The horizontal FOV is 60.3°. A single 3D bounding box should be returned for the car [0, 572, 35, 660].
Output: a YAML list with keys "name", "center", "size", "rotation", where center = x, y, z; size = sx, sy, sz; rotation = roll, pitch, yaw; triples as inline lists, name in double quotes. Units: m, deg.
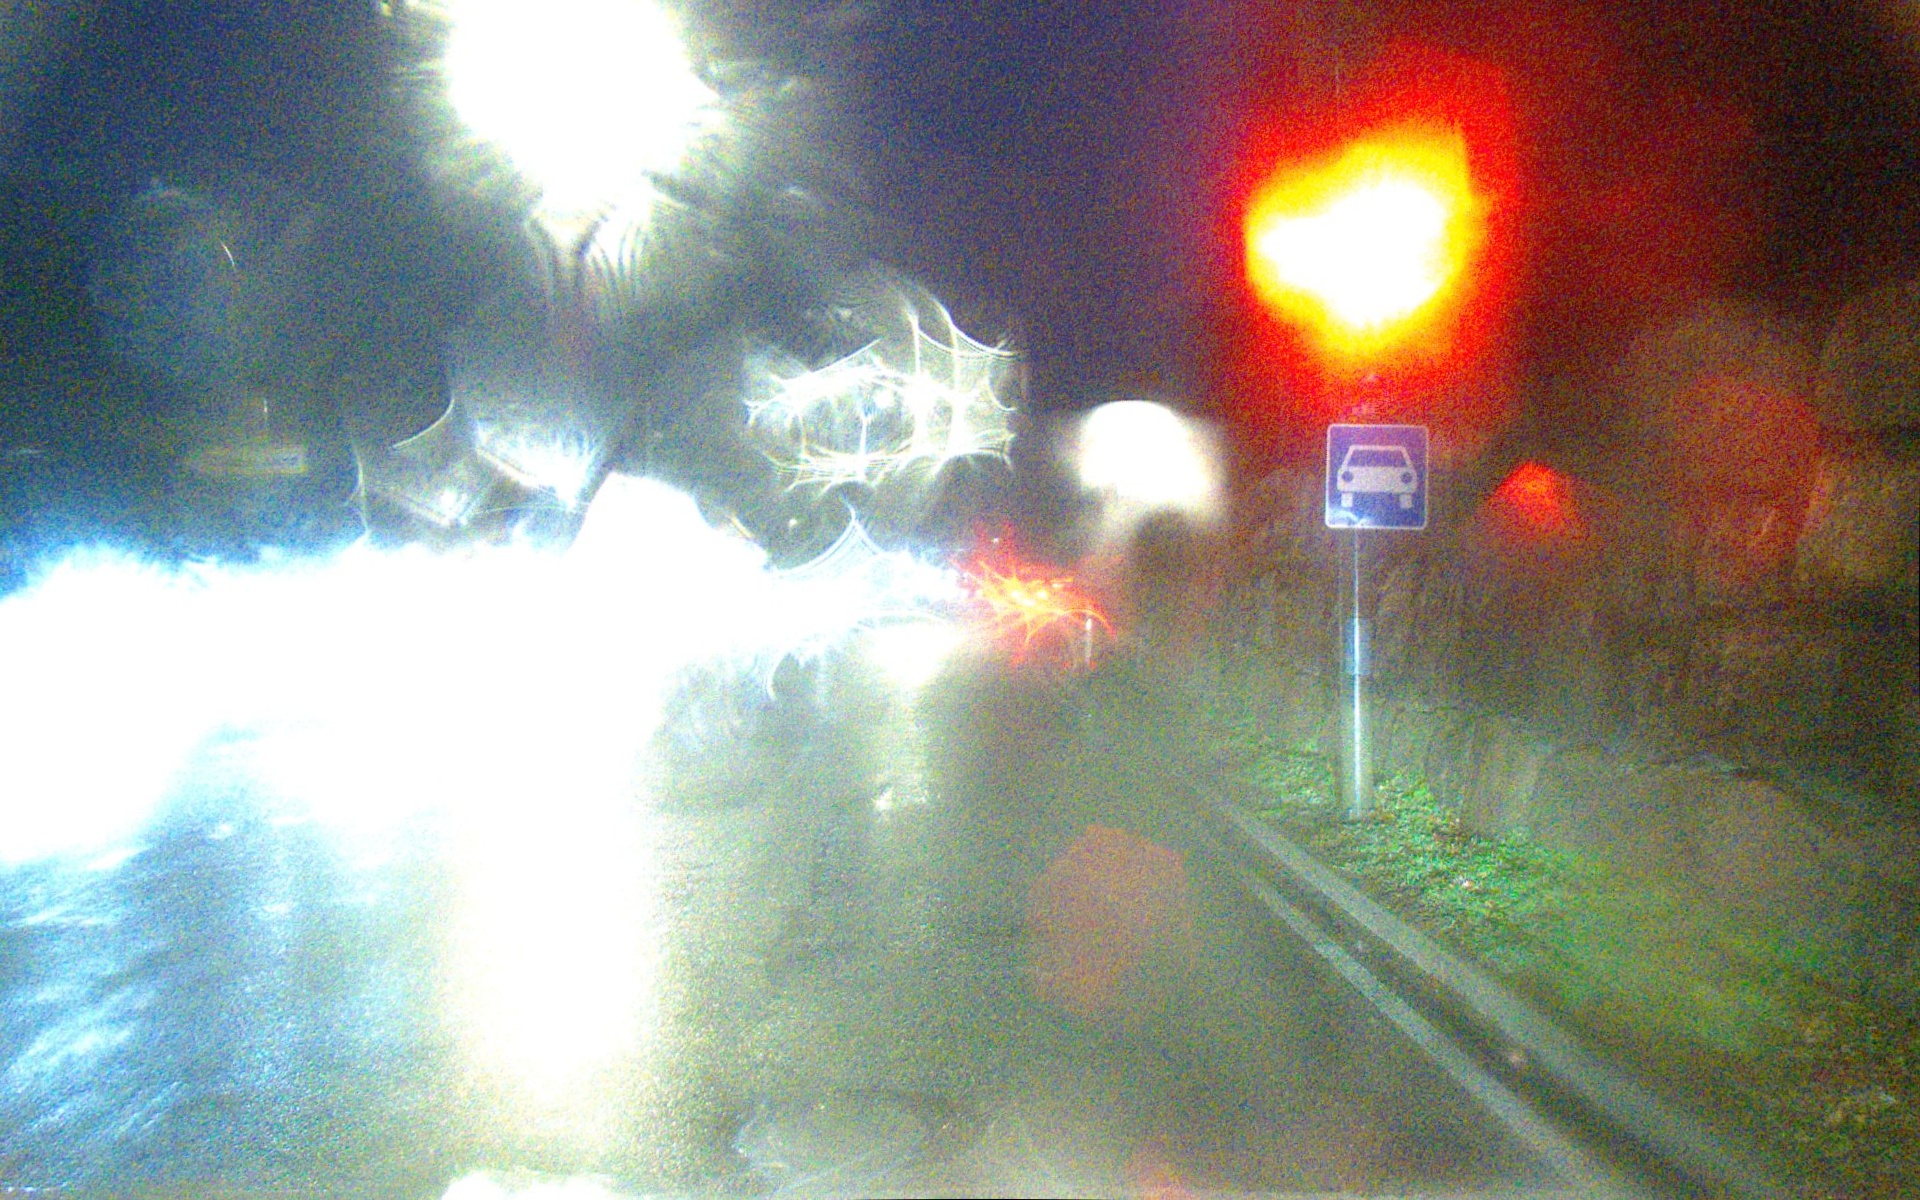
- name: "car"
  center: [-21.886, 0.343, 34.895]
  size: [3.958, 1.863, 1.699]
  rotation: [-1, 1, -38]

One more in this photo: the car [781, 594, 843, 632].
- name: "car"
  center: [-6.324, 0.564, 71.059]
  size: [1.671, 1.561, 4.603]
  rotation: [0, -1, 8]

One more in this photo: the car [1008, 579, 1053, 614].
- name: "car"
  center: [3.374, -0.151, 79.477]
  size: [1.953, 1.639, 4.102]
  rotation: [0, -1, -1]

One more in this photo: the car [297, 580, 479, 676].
- name: "car"
  center: [-10.245, 0.470, 30.017]
  size: [1.664, 1.599, 4.712]
  rotation: [0, 0, 0]

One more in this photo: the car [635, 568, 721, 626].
- name: "car"
  center: [-8.743, -0.065, 51.591]
  size: [1.681, 1.733, 4.145]
  rotation: [0, -1, 5]

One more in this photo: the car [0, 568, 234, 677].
- name: "car"
  center: [-13.698, 0.328, 26.783]
  size: [1.755, 1.599, 4.913]
  rotation: [0, 0, -1]

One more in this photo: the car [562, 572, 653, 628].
- name: "car"
  center: [-11.312, 0.020, 53.340]
  size: [1.952, 1.750, 4.001]
  rotation: [0, -1, 2]

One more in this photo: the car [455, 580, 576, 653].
- name: "car"
  center: [-9.908, 0.368, 37.098]
  size: [1.552, 1.552, 3.653]
  rotation: [0, -1, 3]

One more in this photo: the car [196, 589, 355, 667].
- name: "car"
  center: [-13.705, 0.562, 33.314]
  size: [1.634, 1.479, 3.727]
  rotation: [0, -1, 0]
